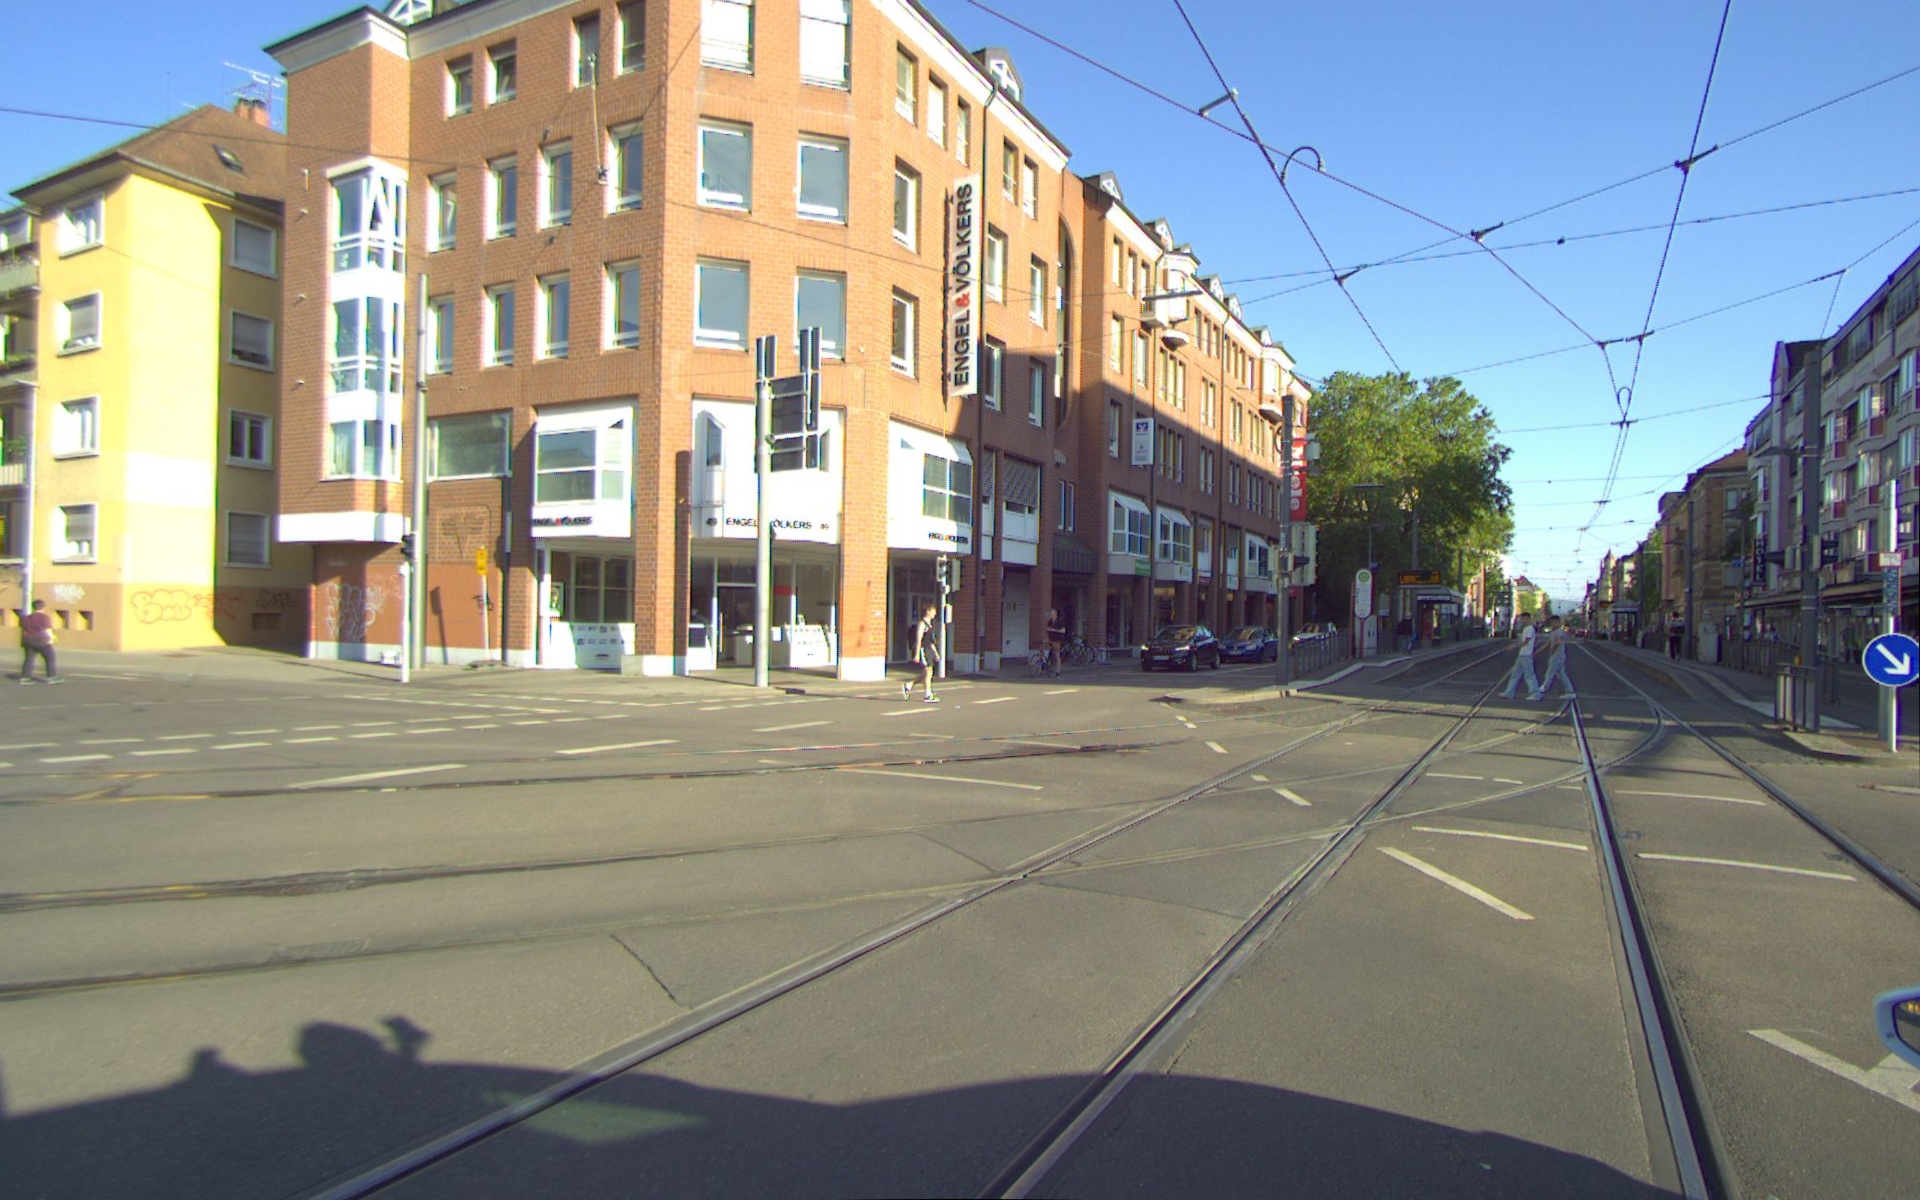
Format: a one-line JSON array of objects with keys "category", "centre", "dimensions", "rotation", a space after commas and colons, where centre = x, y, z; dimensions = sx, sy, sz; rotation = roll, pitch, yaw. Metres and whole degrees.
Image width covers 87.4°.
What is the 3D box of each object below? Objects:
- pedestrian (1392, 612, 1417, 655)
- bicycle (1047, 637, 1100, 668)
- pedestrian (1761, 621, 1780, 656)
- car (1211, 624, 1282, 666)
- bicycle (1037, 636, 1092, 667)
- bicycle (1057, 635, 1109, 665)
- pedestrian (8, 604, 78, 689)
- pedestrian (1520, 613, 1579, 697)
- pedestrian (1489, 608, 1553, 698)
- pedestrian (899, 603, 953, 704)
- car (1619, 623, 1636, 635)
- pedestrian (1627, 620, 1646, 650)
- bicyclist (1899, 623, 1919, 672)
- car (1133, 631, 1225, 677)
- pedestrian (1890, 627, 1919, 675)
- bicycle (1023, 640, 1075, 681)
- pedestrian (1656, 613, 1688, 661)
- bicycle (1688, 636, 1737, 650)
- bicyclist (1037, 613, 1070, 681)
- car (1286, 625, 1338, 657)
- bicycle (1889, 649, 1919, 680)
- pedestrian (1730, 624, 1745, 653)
[{"category": "pedestrian", "centre": [17.007, 1.279, 38.454], "dimensions": [0.677, 1.599, 0.622], "rotation": [1, 1, 6]}, {"category": "bicycle", "centre": [3.978, 1.831, 35.261], "dimensions": [1.804, 0.974, 0.543], "rotation": [1, 1, 29]}, {"category": "pedestrian", "centre": [48.313, 2.293, 59.887], "dimensions": [0.828, 2.041, 0.775], "rotation": [1, 1, 35]}, {"category": "car", "centre": [11.615, 1.768, 40.584], "dimensions": [1.720, 1.444, 3.927], "rotation": [1, 1, 32]}, {"category": "bicycle", "centre": [3.595, 1.765, 34.526], "dimensions": [1.804, 0.974, 0.543], "rotation": [0, 1, 29]}, {"category": "bicycle", "centre": [4.415, 1.780, 36.137], "dimensions": [1.804, 0.974, 0.543], "rotation": [1, 1, 29]}, {"category": "pedestrian", "centre": [-17.775, 0.887, 19.479], "dimensions": [0.773, 1.610, 0.608], "rotation": [0, 1, -3]}, {"category": "pedestrian", "centre": [12.322, 1.133, 21.011], "dimensions": [0.851, 1.717, 0.623], "rotation": [0, 1, -6]}, {"category": "pedestrian", "centre": [11.440, 1.061, 20.499], "dimensions": [0.985, 1.788, 0.511], "rotation": [1, 1, 6]}, {"category": "pedestrian", "centre": [-0.629, 0.959, 18.443], "dimensions": [0.817, 1.781, 0.692], "rotation": [0, 1, -21]}, {"category": "car", "centre": [95.129, 4.162, 143.170], "dimensions": [1.966, 1.573, 3.989], "rotation": [1, 1, 32]}, {"category": "pedestrian", "centre": [39.249, 2.003, 58.283], "dimensions": [0.766, 1.682, 0.683], "rotation": [1, 1, 21]}, {"category": "bicyclist", "centre": [30.938, 1.507, 32.337], "dimensions": [0.787, 1.552, 0.628], "rotation": [-1, -2, -7]}, {"category": "car", "centre": [7.336, 1.730, 33.355], "dimensions": [1.721, 1.261, 3.926], "rotation": [1, 1, 33]}, {"category": "pedestrian", "centre": [33.923, 1.805, 36.034], "dimensions": [0.741, 1.667, 0.548], "rotation": [1, 1, 36]}, {"category": "bicycle", "centre": [2.577, 1.733, 28.992], "dimensions": [0.624, 1.063, 1.830], "rotation": [1, 1, 36]}, {"category": "pedestrian", "centre": [25.689, 1.337, 36.231], "dimensions": [0.766, 1.682, 0.683], "rotation": [1, 1, 21]}, {"category": "bicycle", "centre": [59.534, 3.372, 79.486], "dimensions": [3.109, 1.006, 0.901], "rotation": [0, 1, 3]}, {"category": "bicyclist", "centre": [2.710, 1.334, 29.044], "dimensions": [0.624, 1.904, 0.807], "rotation": [1, 1, 36]}, {"category": "car", "centre": [18.340, 2.087, 52.276], "dimensions": [1.720, 1.444, 3.927], "rotation": [1, 1, 32]}, {"category": "bicycle", "centre": [31.092, 2.068, 32.328], "dimensions": [1.874, 0.942, 0.628], "rotation": [-2, -2, -6]}, {"category": "pedestrian", "centre": [54.616, 2.697, 70.598], "dimensions": [0.762, 2.041, 0.503], "rotation": [1, 1, 35]}]
